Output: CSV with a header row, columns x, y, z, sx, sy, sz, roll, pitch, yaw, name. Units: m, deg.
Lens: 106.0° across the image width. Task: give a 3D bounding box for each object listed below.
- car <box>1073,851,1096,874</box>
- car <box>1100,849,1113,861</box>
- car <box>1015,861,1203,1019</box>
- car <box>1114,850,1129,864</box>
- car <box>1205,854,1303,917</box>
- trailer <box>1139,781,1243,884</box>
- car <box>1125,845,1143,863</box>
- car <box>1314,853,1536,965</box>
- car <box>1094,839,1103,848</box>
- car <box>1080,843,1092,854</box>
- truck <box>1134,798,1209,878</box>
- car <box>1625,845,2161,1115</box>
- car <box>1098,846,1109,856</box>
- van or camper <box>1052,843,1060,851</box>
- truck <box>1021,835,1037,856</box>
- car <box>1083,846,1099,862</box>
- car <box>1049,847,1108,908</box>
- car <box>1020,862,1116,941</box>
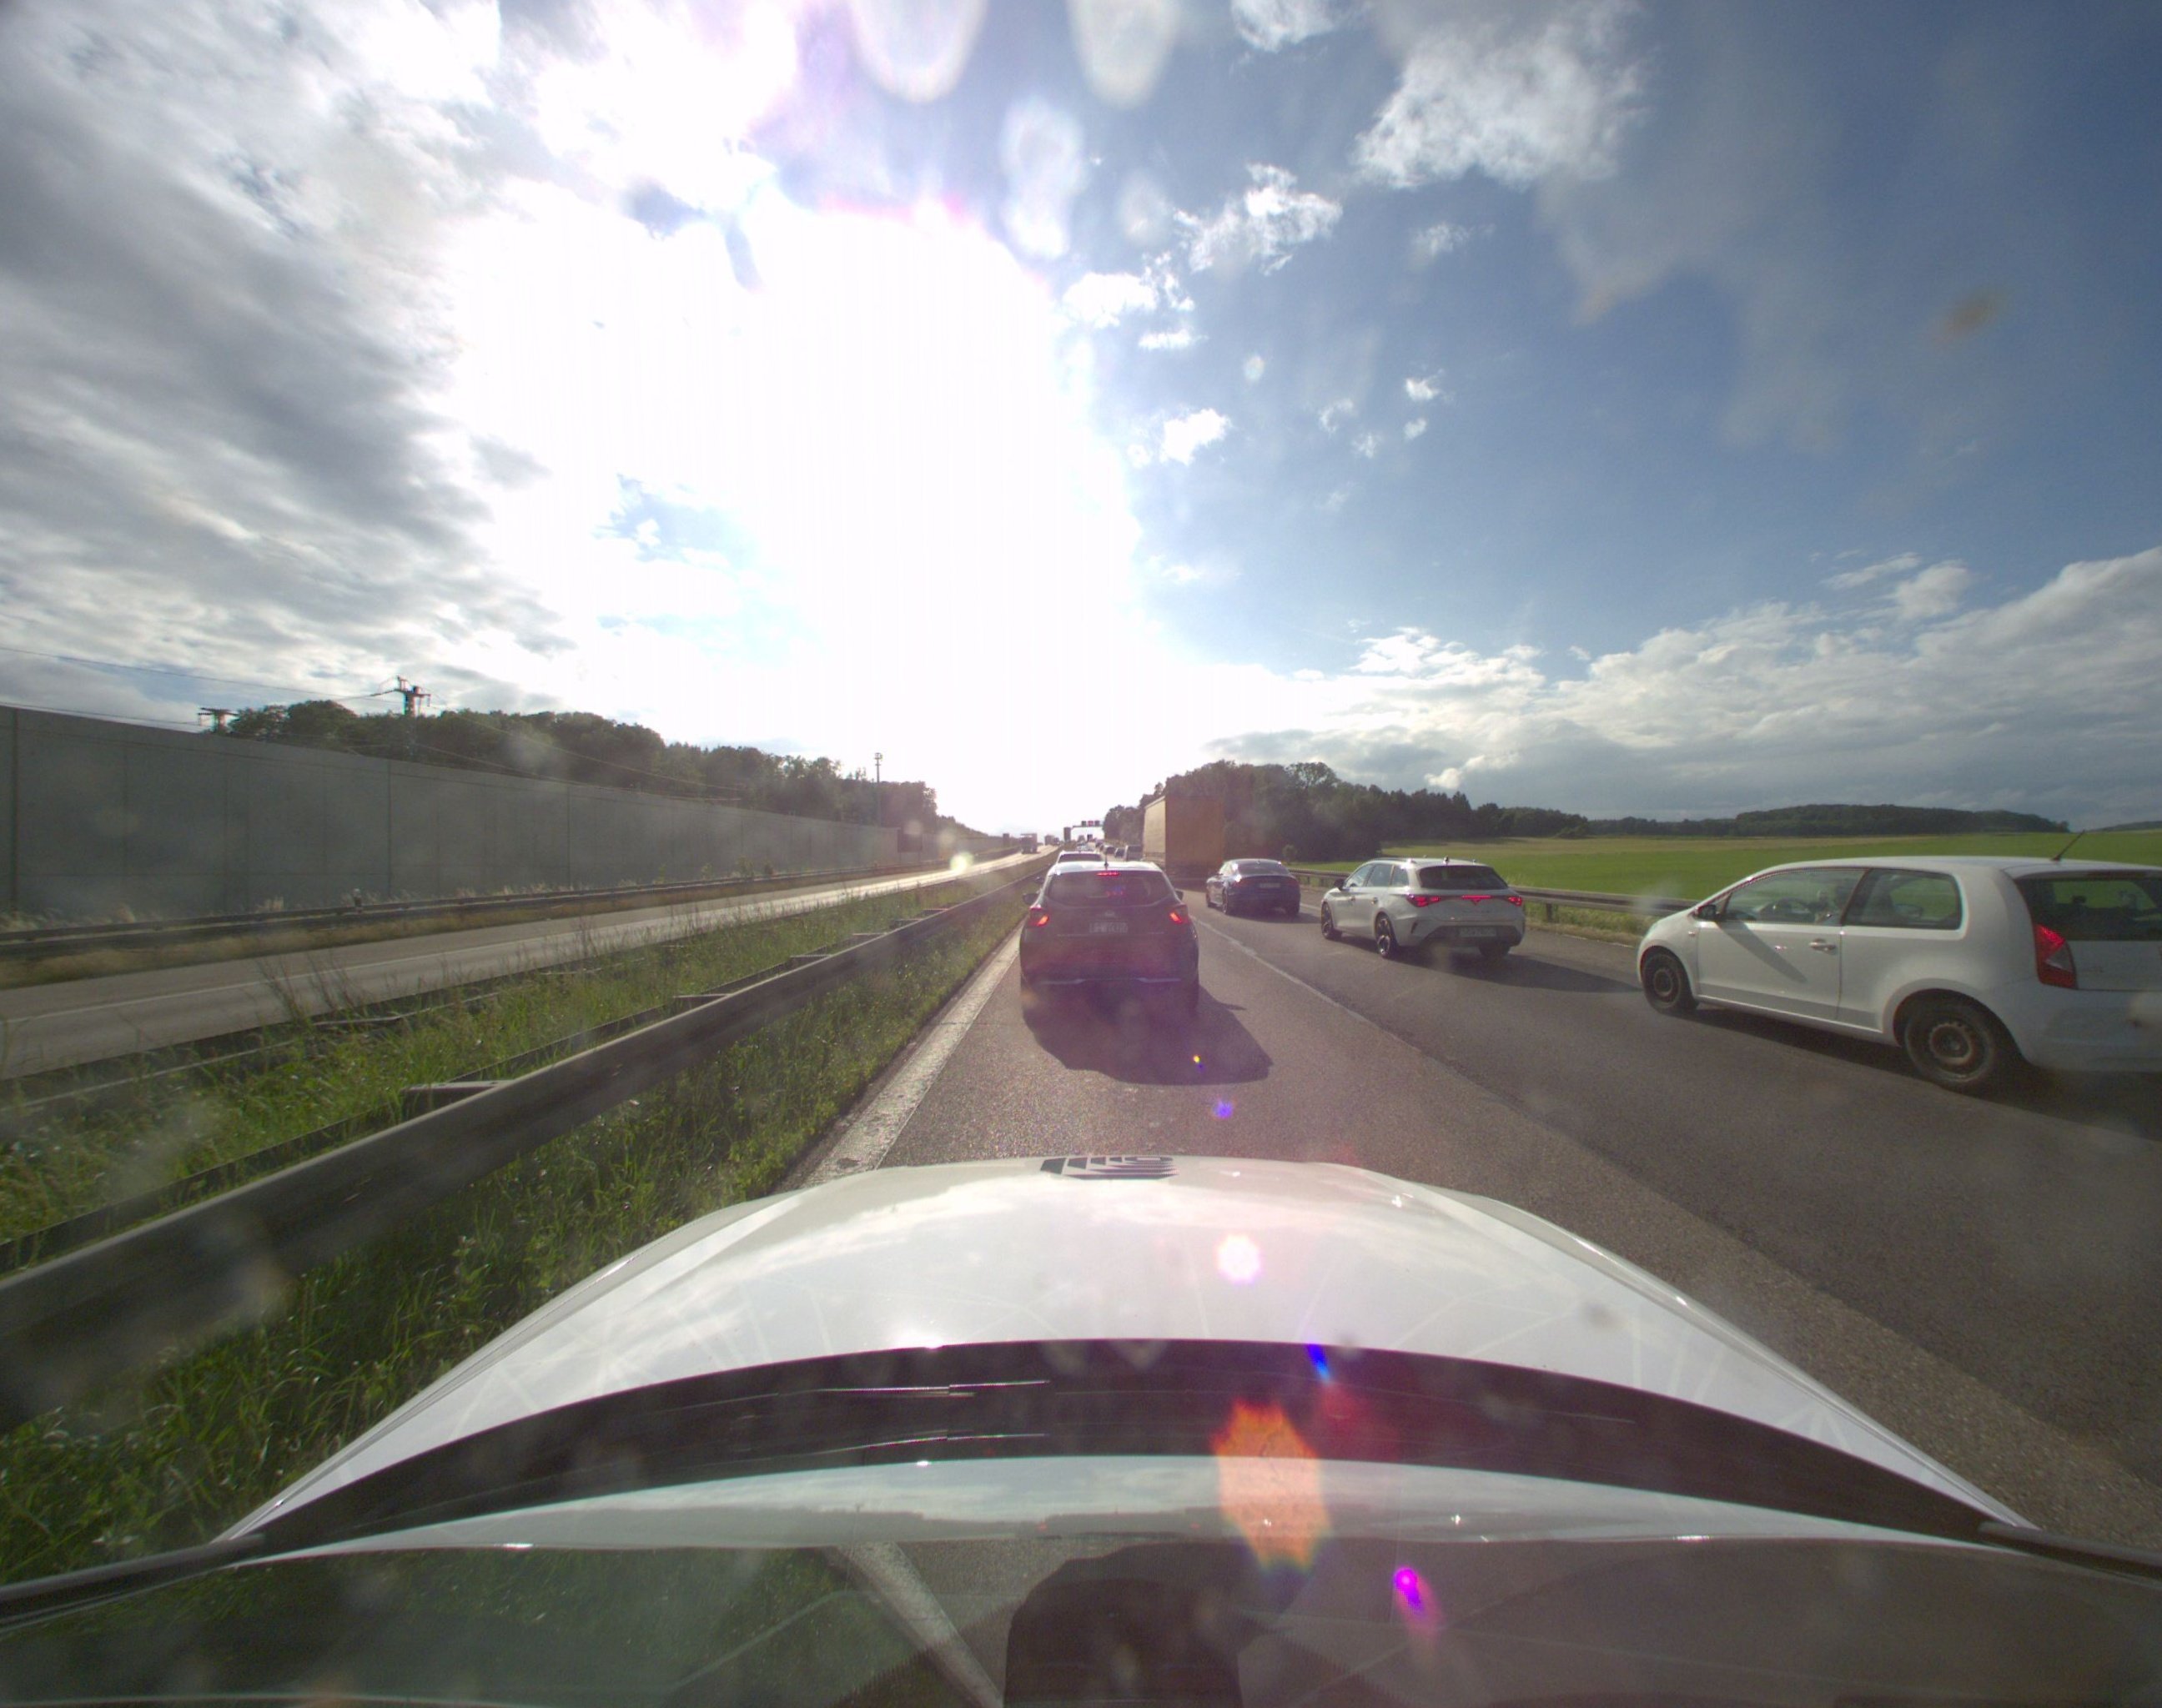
x,y,z,sx,sy,sz,roll,pitch,yaw,name
0.256,0.748,72.764,1.987,2.014,3.998,0,-1,-1,car
4.371,0.129,138.445,1.987,2.014,3.998,0,-1,-1,car
0.310,0.797,9.119,1.703,1.426,3.379,-1,-1,2,car
5.923,0.508,120.268,1.987,2.014,3.998,0,-1,-1,car
4.392,0.766,21.231,1.741,1.475,4.147,-1,-1,1,car
5.227,-0.882,41.697,3.538,4.457,12.718,0,-1,0,trailer
5.091,-0.001,78.804,1.661,1.755,3.328,0,-1,2,car
5.068,0.734,12.660,1.616,1.445,4.144,0,-1,-1,car
4.102,-2.561,194.128,1.987,2.014,3.998,0,-1,-1,car
0.918,-1.008,150.758,1.987,2.014,3.998,0,-1,-1,car
5.160,-0.850,47.717,3.571,4.380,6.686,0,-1,-1,truck
6.105,0.692,6.262,1.544,1.495,3.376,0,0,-1,car
4.531,-0.591,162.546,1.987,2.014,3.998,0,-1,-1,car
-7.421,-2.101,242.001,2.158,2.205,6.260,0,-1,2,van or camper
-10.457,-1.677,163.964,2.629,4.098,7.000,0,-1,0,truck
1.272,0.055,105.847,1.987,2.014,3.998,0,-1,-1,car
-0.031,0.694,25.268,1.668,1.726,3.597,-1,-1,1,car
-0.187,0.838,15.926,1.668,1.367,3.597,-1,-1,1,car
